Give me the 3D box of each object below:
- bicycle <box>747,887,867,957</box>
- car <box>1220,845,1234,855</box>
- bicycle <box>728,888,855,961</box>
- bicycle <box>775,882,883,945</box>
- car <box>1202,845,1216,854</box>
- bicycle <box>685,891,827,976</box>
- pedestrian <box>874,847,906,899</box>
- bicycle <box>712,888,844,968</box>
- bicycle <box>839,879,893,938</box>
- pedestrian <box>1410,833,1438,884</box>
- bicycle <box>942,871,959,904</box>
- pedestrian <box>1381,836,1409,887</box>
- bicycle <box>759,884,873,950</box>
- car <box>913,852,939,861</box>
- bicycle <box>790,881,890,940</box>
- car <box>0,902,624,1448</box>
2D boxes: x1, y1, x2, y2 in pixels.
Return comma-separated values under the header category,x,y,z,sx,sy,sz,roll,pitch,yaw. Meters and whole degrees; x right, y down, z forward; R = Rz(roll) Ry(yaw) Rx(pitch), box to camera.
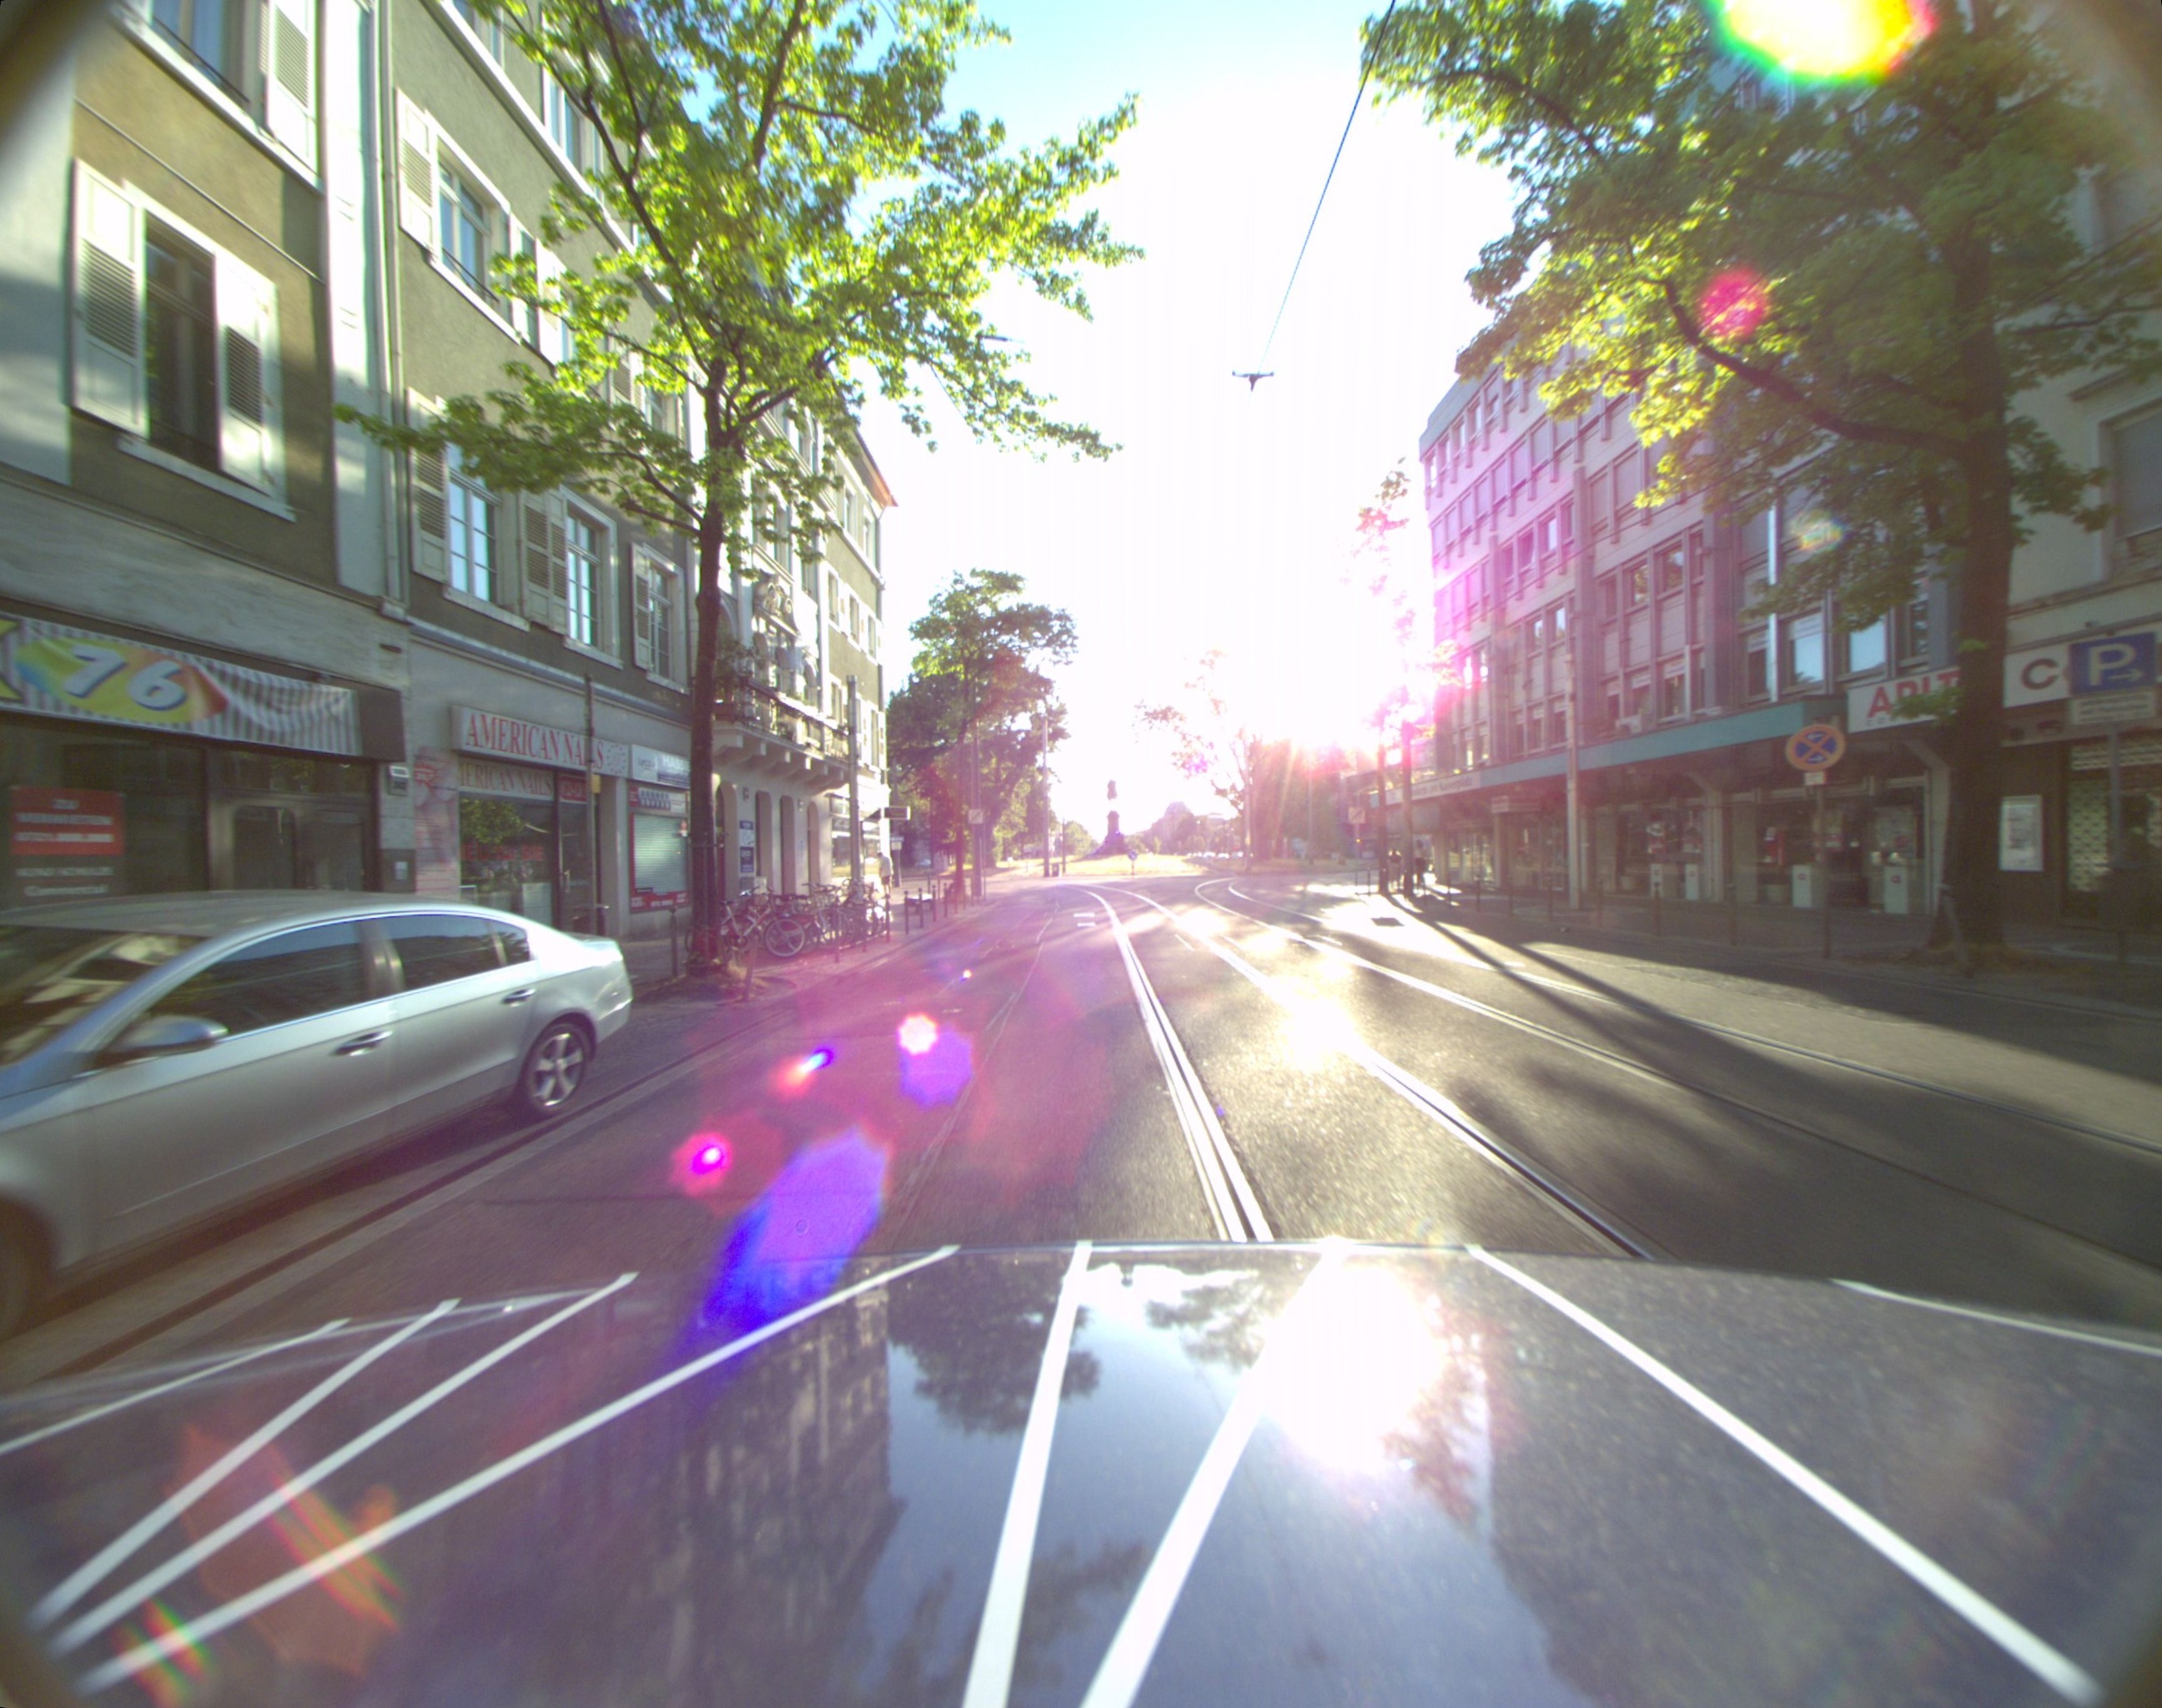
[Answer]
category,x,y,z,sx,sy,sz,roll,pitch,yaw
bicycle,-4.766,1.171,13.272,1.870,1.148,0.562,-1,1,3
car,29.347,-0.889,152.709,1.998,2.002,4.000,0,1,1
bicycle,-4.800,1.164,12.654,1.870,1.148,0.562,-1,1,3
bicycle,-4.839,1.136,14.646,1.870,1.148,0.562,-1,1,3
car,27.954,-0.958,166.236,1.999,2.002,4.547,-1,1,-2
bicycle,-4.856,1.172,11.394,1.870,1.148,0.562,2,1,2
pedestrian,-7.476,0.726,29.704,0.848,2.002,0.841,-2,2,-44
bicycle,-4.785,1.157,12.055,1.870,1.148,0.562,1,1,2
bicycle,-4.603,1.124,16.195,0.462,1.148,1.677,-2,1,-39
pedestrian,13.707,0.177,30.360,0.798,2.002,0.734,-1,1,2
bicycle,-4.624,1.166,27.041,0.355,1.070,1.698,-1,1,-2
pedestrian,12.638,0.306,30.578,0.798,2.002,0.734,-1,1,2
bicycle,-4.853,1.146,13.946,1.870,1.148,0.562,-1,1,3
car,-27.841,0.467,136.701,1.995,1.596,4.531,-1,1,28
bicycle,-4.824,1.127,15.232,1.870,1.148,0.348,-1,1,2
car,-4.265,1.120,3.300,1.780,1.432,4.422,2,1,1
